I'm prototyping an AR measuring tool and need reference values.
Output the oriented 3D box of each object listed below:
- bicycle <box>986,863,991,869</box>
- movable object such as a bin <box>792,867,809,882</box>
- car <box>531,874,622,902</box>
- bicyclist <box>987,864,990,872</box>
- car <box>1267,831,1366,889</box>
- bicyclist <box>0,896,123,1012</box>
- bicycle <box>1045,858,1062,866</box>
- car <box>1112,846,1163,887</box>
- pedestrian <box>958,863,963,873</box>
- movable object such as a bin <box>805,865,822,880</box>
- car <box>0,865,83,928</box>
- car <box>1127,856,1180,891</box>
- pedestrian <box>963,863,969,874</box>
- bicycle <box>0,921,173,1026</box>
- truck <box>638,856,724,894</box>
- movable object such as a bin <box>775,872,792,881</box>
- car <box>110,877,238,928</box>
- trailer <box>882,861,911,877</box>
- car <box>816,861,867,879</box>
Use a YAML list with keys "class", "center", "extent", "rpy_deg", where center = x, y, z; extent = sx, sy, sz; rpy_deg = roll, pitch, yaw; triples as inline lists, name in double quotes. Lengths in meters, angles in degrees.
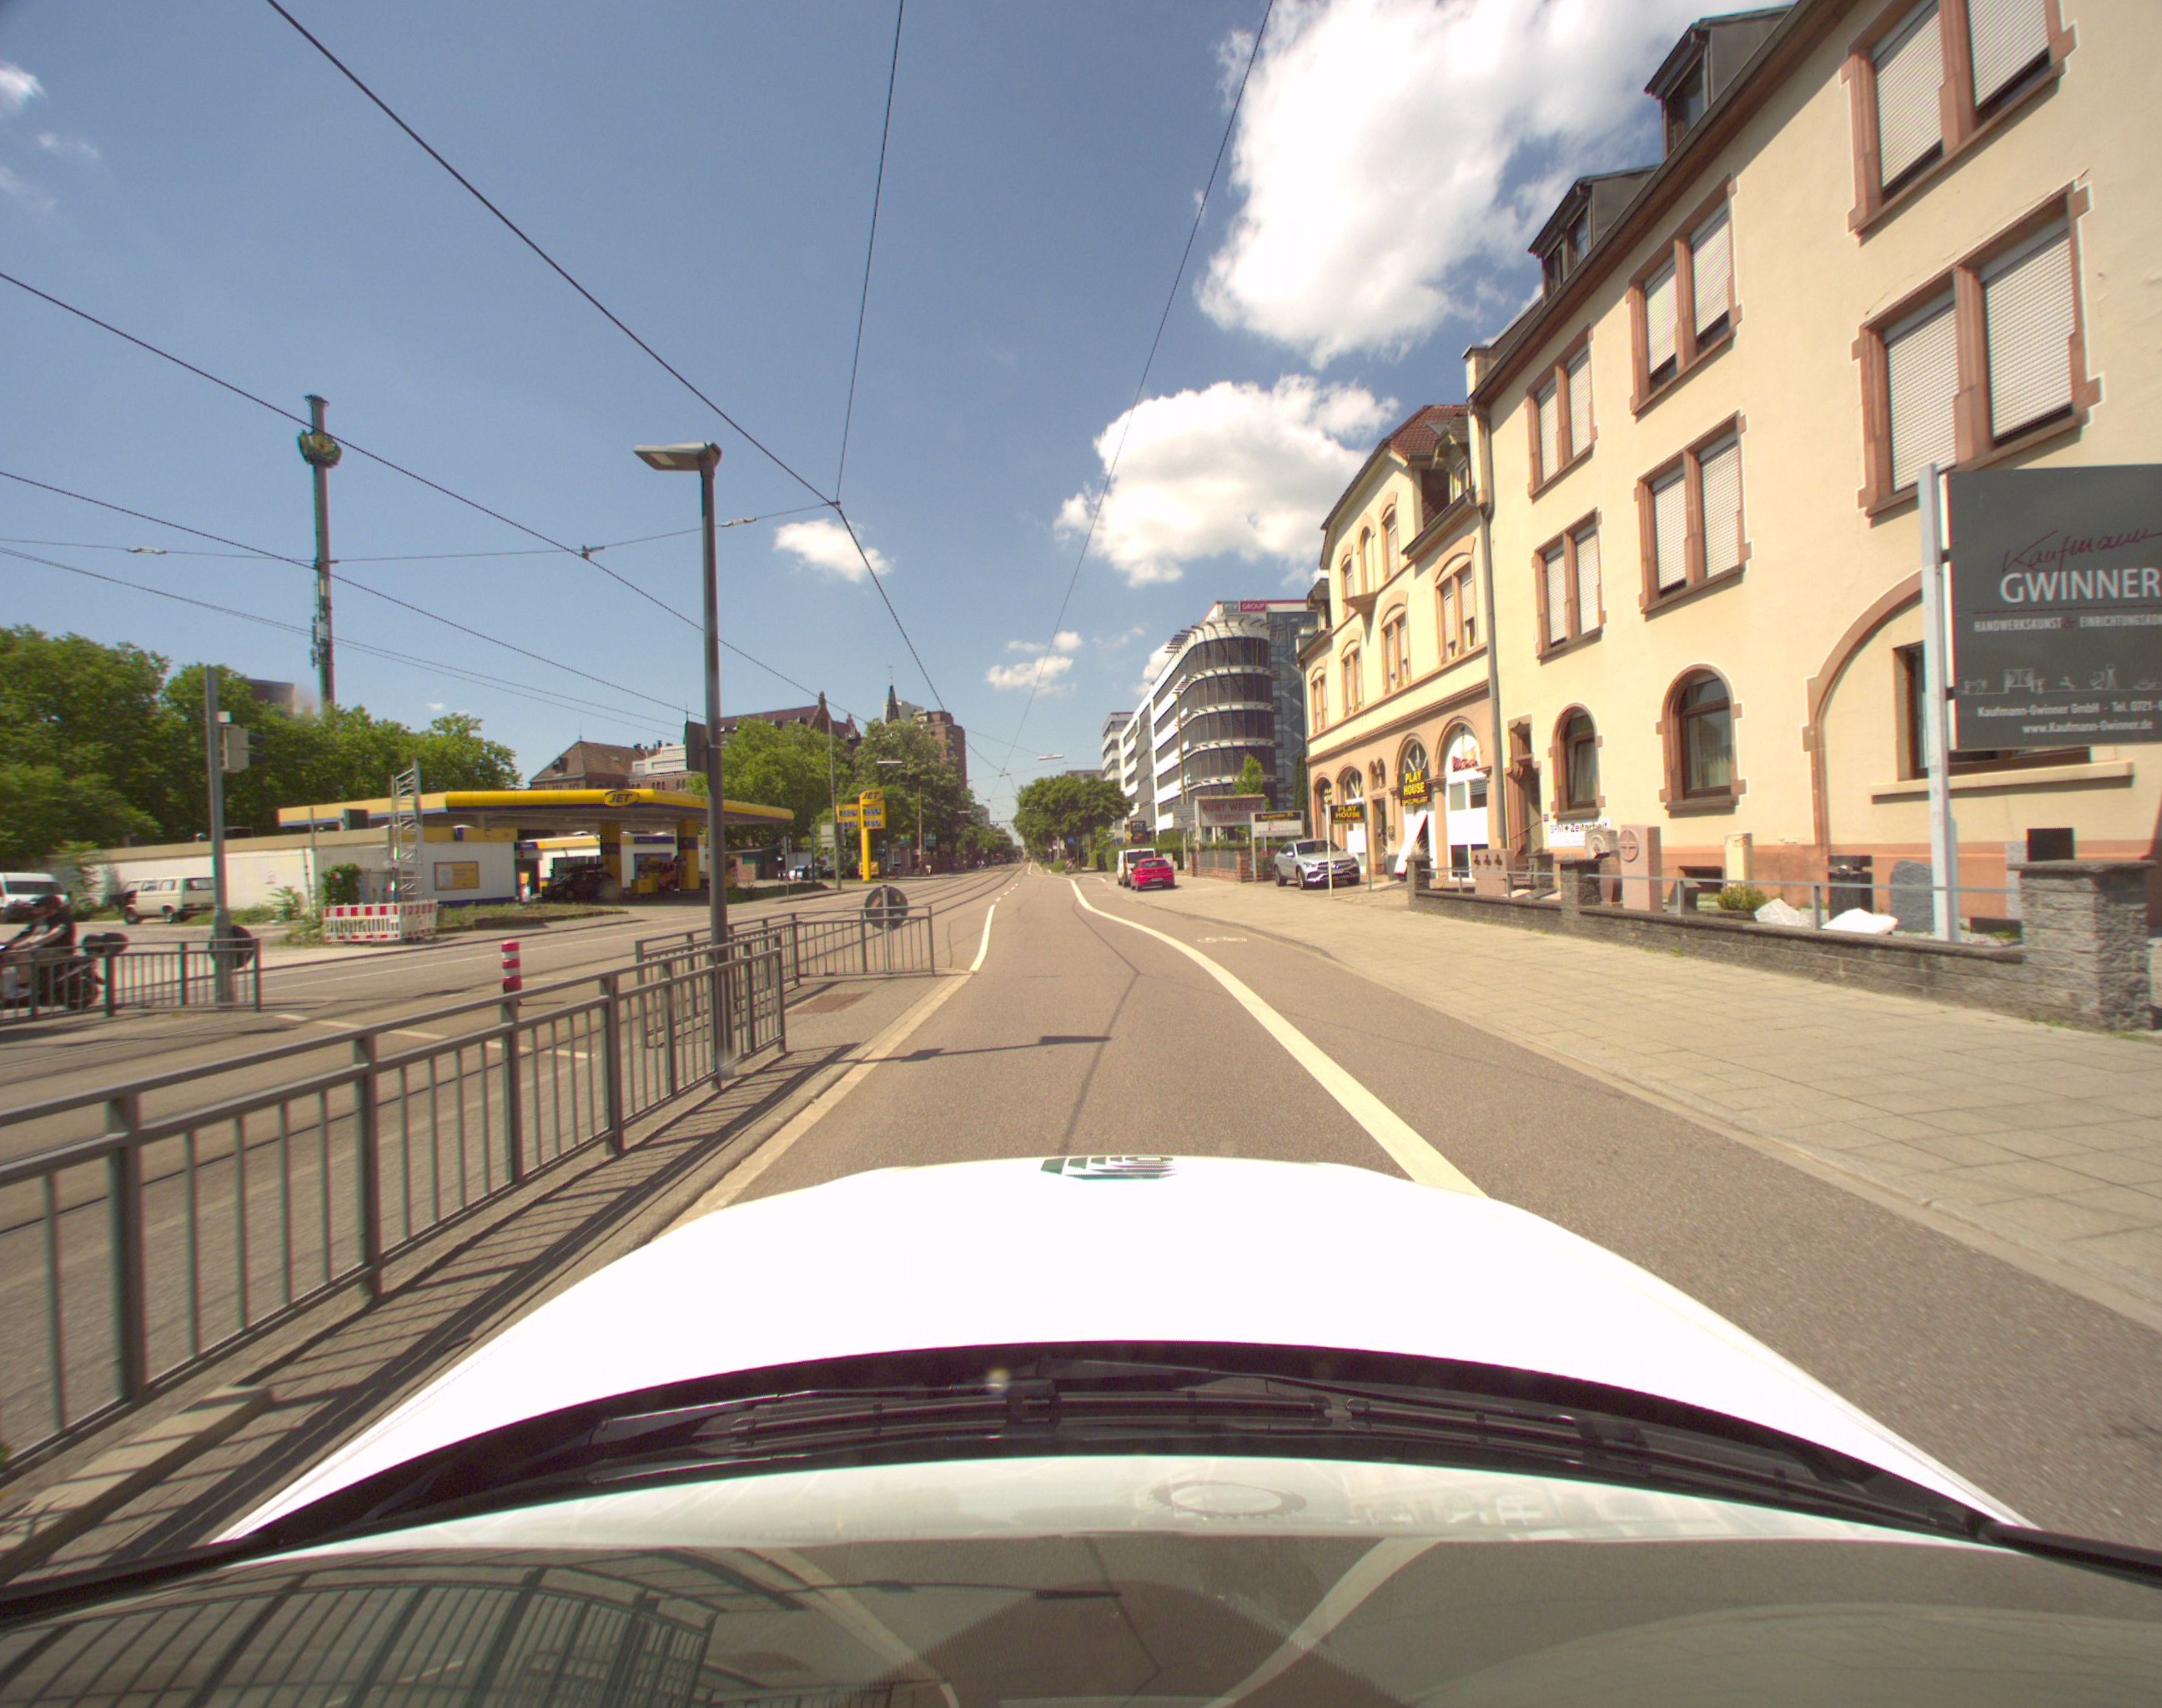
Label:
- class: "bicycle"
  center: [-18.683, 2.437, 164.148]
  extent: [0.699, 1.204, 2.237]
  rpy_deg: [-4, 0, -4]
- class: "movable object such as a bin"
  center: [-27.169, 1.982, 78.969]
  extent: [1.336, 1.354, 0.760]
  rpy_deg: [-2, 0, 8]
- class: "car"
  center: [-30.955, 2.066, 50.121]
  extent: [1.975, 1.479, 4.367]
  rpy_deg: [-3, 0, 25]
- class: "bicyclist"
  center: [-18.665, 2.871, 164.270]
  extent: [0.641, 1.679, 0.813]
  rpy_deg: [-3, -1, -5]
- class: "car"
  center: [7.864, 0.194, 27.698]
  extent: [1.872, 1.624, 4.638]
  rpy_deg: [-5, 0, -1]
- class: "bicyclist"
  center: [-14.666, 1.394, 11.593]
  extent: [0.756, 1.504, 1.065]
  rpy_deg: [-2, 0, -2]
- class: "bicycle"
  center: [-4.303, 1.239, 128.427]
  extent: [2.502, 1.209, 0.648]
  rpy_deg: [-3, -1, 0]
- class: "car"
  center: [3.033, 0.656, 44.679]
  extent: [1.989, 1.991, 5.508]
  rpy_deg: [-4, 0, -3]
- class: "pedestrian"
  center: [-20.862, 2.432, 140.598]
  extent: [0.741, 1.728, 0.866]
  rpy_deg: [-2, -1, -4]
- class: "movable object such as a bin"
  center: [-25.713, 1.809, 78.193]
  extent: [1.342, 1.354, 0.757]
  rpy_deg: [-2, 0, -6]
- class: "car"
  center: [-50.030, 1.999, 38.384]
  extent: [4.449, 2.774, 2.130]
  rpy_deg: [-3, 0, 16]
- class: "car"
  center: [3.326, 0.880, 37.971]
  extent: [1.988, 1.442, 4.014]
  rpy_deg: [-2, 0, -2]
- class: "pedestrian"
  center: [-19.048, 2.360, 134.701]
  extent: [0.813, 1.770, 0.923]
  rpy_deg: [-2, -1, -4]
- class: "bicycle"
  center: [-14.652, 1.680, 11.548]
  extent: [0.814, 1.222, 2.389]
  rpy_deg: [-3, 0, 0]
- class: "truck"
  center: [-28.055, 1.453, 57.383]
  extent: [1.975, 2.498, 5.234]
  rpy_deg: [-3, -1, 27]
- class: "movable object such as a bin"
  center: [-29.082, 2.190, 79.537]
  extent: [1.334, 0.873, 0.761]
  rpy_deg: [-2, 0, 16]
- class: "car"
  center: [-38.769, 2.051, 34.845]
  extent: [4.210, 1.937, 1.901]
  rpy_deg: [-3, 0, 15]
- class: "trailer"
  center: [-20.223, 1.636, 89.311]
  extent: [2.823, 1.704, 1.619]
  rpy_deg: [-2, 0, -3]
- class: "car"
  center: [-23.442, 1.563, 79.730]
  extent: [1.974, 1.590, 4.361]
  rpy_deg: [-3, 0, 41]
